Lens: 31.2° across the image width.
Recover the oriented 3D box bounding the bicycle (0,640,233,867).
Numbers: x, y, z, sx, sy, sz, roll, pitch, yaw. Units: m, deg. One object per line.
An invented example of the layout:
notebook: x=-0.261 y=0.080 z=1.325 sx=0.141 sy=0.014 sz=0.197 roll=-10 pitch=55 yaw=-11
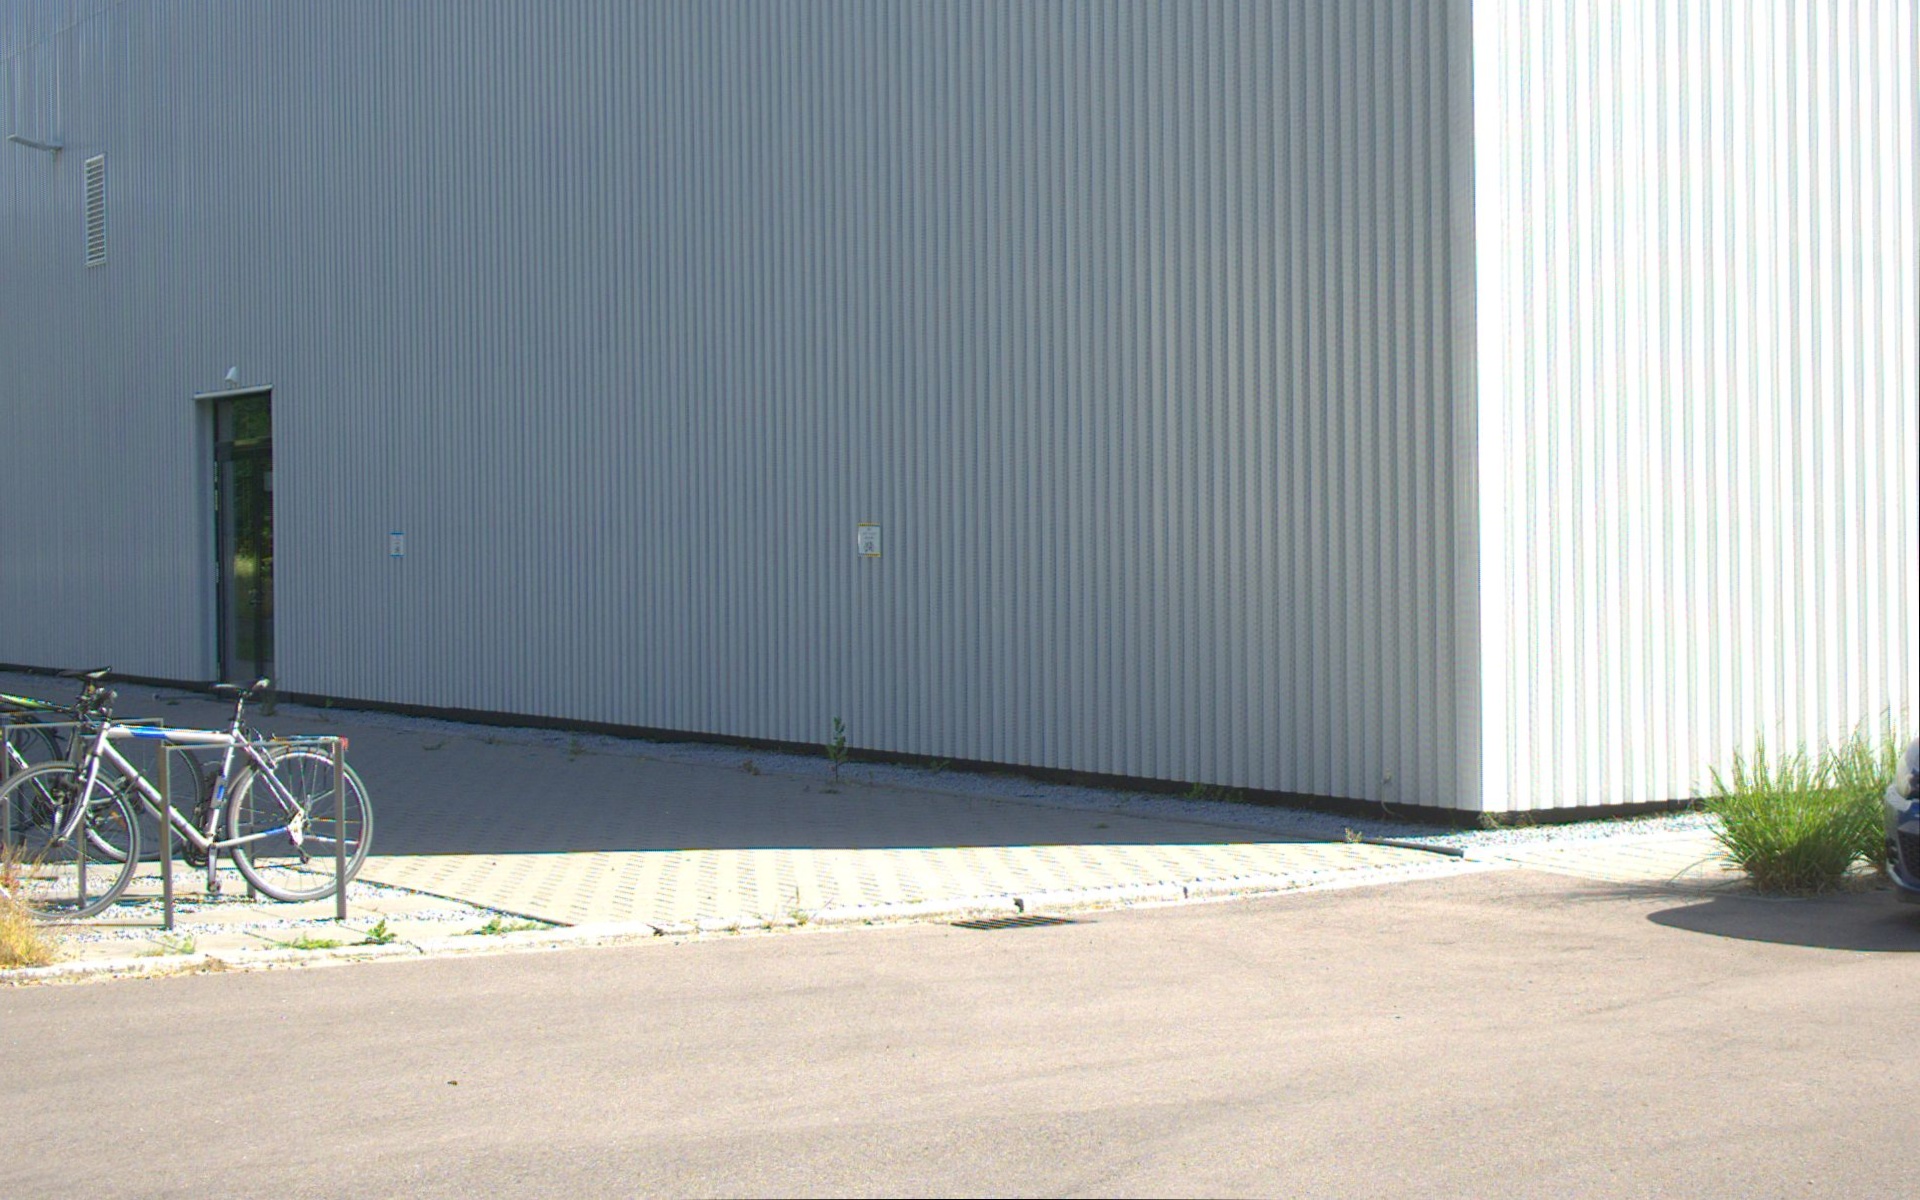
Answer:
bicycle: x=-4.604 y=0.765 z=17.238 sx=1.792 sy=1.079 sz=0.525 roll=-1 pitch=1 yaw=-28

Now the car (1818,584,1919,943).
car: x=5.511 y=0.616 z=13.857 sx=3.941 sy=1.345 sz=1.674 roll=-1 pitch=3 yaw=-31

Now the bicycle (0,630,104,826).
bicycle: x=-5.864 y=0.741 z=19.459 sx=1.888 sy=1.091 sz=0.526 roll=-1 pitch=0 yaw=-31

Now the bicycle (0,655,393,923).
bicycle: x=-3.397 y=0.795 z=14.965 sx=1.800 sy=1.058 sz=0.459 roll=-1 pitch=1 yaw=-35
